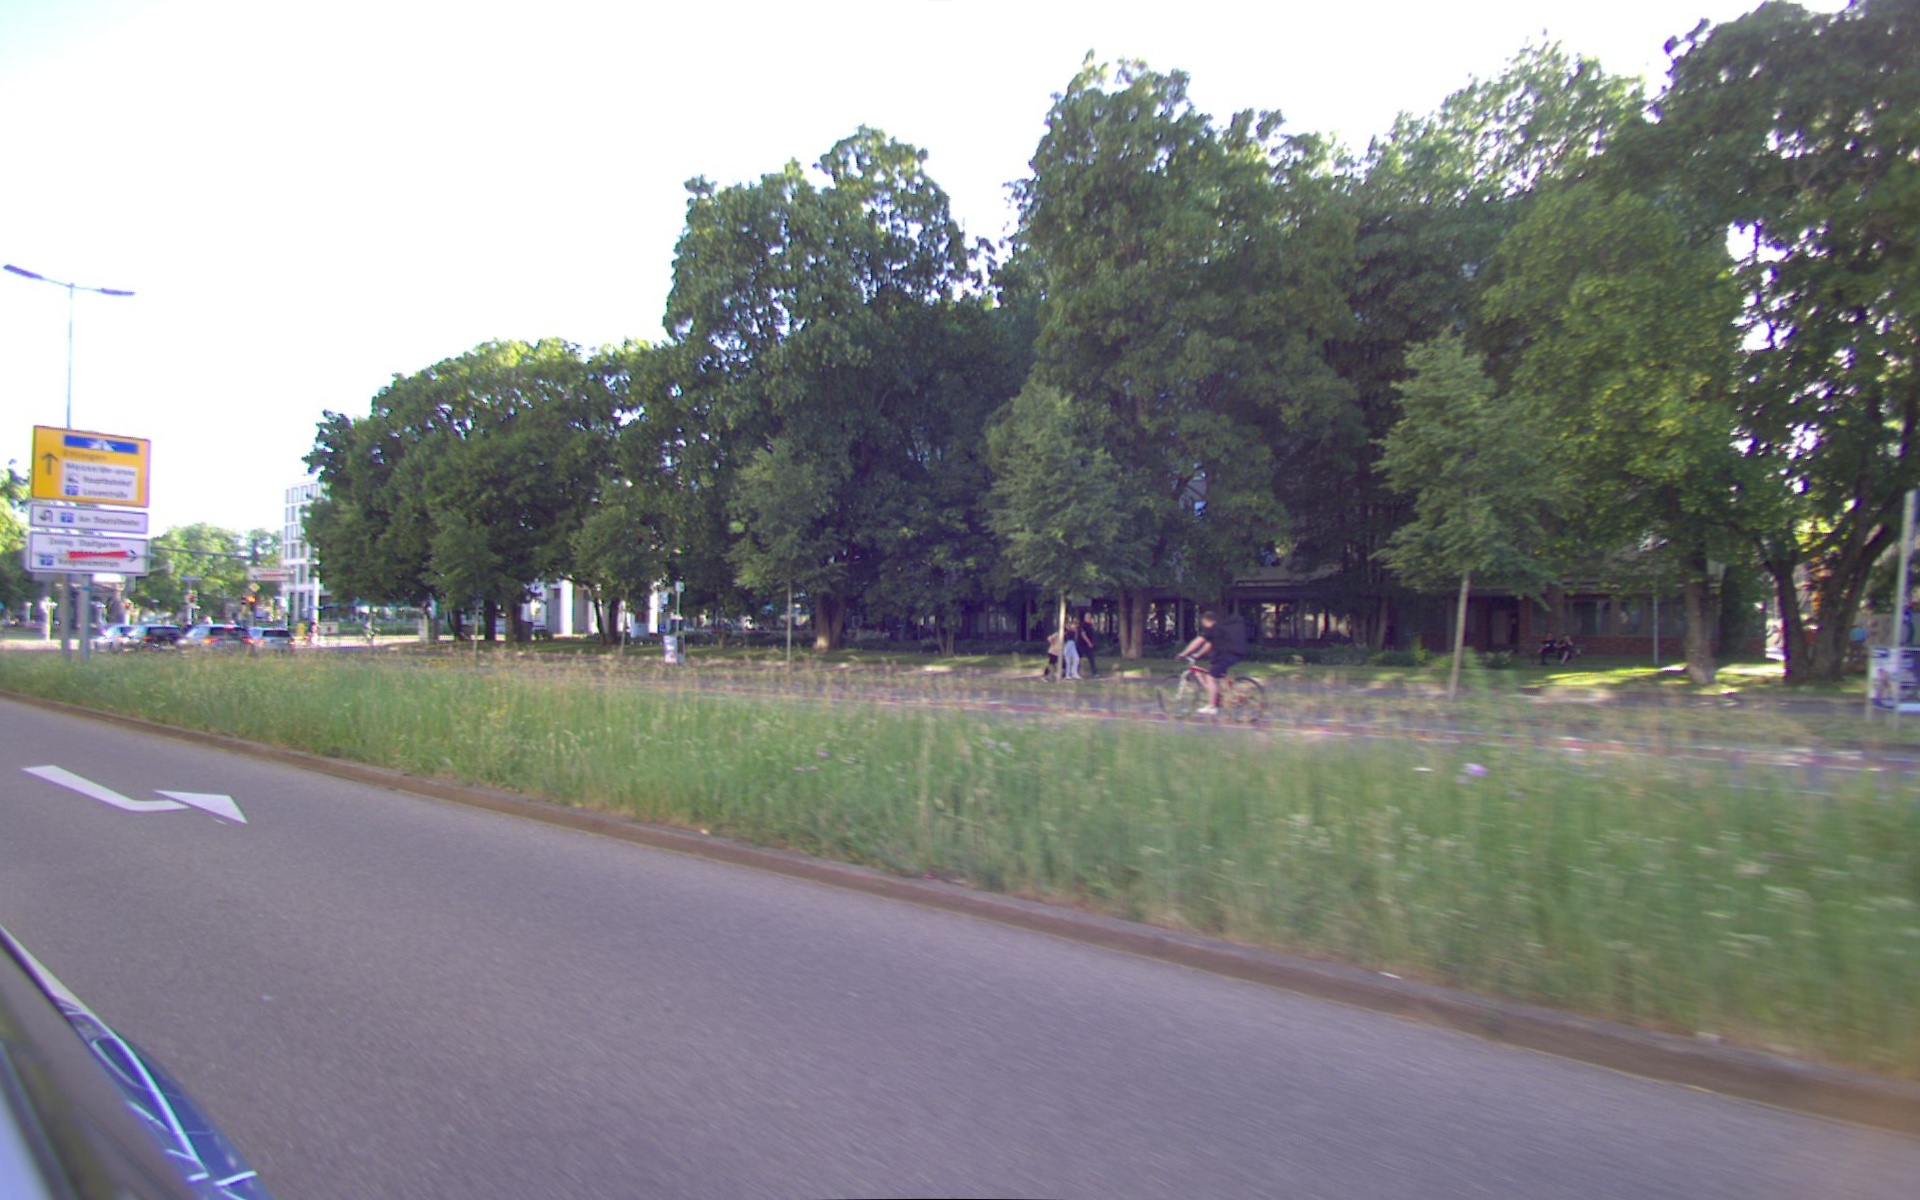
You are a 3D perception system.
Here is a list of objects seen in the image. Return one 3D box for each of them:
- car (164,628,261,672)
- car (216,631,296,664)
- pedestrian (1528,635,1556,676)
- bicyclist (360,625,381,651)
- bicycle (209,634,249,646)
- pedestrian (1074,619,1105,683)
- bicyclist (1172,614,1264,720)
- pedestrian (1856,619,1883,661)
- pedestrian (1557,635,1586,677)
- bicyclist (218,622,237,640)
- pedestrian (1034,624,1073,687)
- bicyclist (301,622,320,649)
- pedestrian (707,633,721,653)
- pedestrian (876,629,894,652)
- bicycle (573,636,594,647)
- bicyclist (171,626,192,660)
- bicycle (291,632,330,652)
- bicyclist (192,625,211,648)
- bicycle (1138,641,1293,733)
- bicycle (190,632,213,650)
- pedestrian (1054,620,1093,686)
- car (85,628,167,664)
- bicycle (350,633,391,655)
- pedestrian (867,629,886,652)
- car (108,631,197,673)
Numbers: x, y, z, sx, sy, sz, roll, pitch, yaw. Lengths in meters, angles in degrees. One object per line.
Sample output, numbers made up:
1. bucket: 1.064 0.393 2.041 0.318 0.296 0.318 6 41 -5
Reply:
1. car: -28.466 1.876 38.521 4.055 1.576 1.974 -1 -3 38
2. car: -33.871 2.272 48.668 4.582 1.538 1.914 -1 -4 39
3. pedestrian: 22.198 2.094 38.618 0.891 1.552 0.895 -1 -2 31
4. bicyclist: -41.099 2.675 70.556 0.774 1.703 0.913 1 -6 38
5. bicycle: -56.296 3.068 77.937 0.842 0.858 2.306 -1 -2 37
6. pedestrian: 3.600 1.421 28.148 0.655 1.754 0.518 -2 -3 42
7. bicyclist: 4.093 1.037 16.066 1.200 1.602 0.740 1 -2 38
8. pedestrian: 36.309 1.592 40.412 0.745 1.653 0.716 -2 -3 44
9. pedestrian: 23.000 2.108 38.072 0.891 1.552 0.895 -1 -2 31
10. bicyclist: -56.335 2.408 77.840 0.826 1.372 0.960 -2 -3 40
11. pedestrian: 2.501 1.482 27.053 0.726 1.653 0.734 -2 -3 42
12. bicyclist: -43.184 2.355 67.299 0.754 1.756 0.828 1 -2 38
13. pedestrian: -16.831 2.903 69.159 0.599 1.350 0.723 -2 -3 41
14. pedestrian: -4.410 2.392 59.576 0.716 1.350 0.818 -2 -3 41
15. bicycle: -30.952 3.438 83.195 1.599 0.896 0.762 -1 -2 30
16. bicyclist: -38.968 2.160 50.676 0.771 1.692 0.840 3 -3 -38
17. bicycle: -43.178 2.797 67.320 0.777 1.249 1.995 1 -1 37
18. bicyclist: -54.129 2.614 72.253 0.837 1.631 0.976 1 -2 -23
19. bicycle: 4.037 1.343 16.094 2.255 1.285 0.750 1 -2 38
20. bicycle: -54.143 2.905 72.282 0.832 1.240 2.021 1 -2 -23
21. pedestrian: 3.086 1.430 27.623 0.760 1.754 0.763 -2 -3 42
22. car: -38.544 2.096 46.750 4.543 1.572 1.974 -1 -3 38
23. bicycle: -41.143 3.070 70.655 0.777 1.249 2.282 -11 -13 37
24. pedestrian: -4.947 2.403 60.039 0.665 1.350 0.896 -2 -3 41
25. car: -34.331 2.160 42.977 4.543 1.688 1.974 -1 -3 38
